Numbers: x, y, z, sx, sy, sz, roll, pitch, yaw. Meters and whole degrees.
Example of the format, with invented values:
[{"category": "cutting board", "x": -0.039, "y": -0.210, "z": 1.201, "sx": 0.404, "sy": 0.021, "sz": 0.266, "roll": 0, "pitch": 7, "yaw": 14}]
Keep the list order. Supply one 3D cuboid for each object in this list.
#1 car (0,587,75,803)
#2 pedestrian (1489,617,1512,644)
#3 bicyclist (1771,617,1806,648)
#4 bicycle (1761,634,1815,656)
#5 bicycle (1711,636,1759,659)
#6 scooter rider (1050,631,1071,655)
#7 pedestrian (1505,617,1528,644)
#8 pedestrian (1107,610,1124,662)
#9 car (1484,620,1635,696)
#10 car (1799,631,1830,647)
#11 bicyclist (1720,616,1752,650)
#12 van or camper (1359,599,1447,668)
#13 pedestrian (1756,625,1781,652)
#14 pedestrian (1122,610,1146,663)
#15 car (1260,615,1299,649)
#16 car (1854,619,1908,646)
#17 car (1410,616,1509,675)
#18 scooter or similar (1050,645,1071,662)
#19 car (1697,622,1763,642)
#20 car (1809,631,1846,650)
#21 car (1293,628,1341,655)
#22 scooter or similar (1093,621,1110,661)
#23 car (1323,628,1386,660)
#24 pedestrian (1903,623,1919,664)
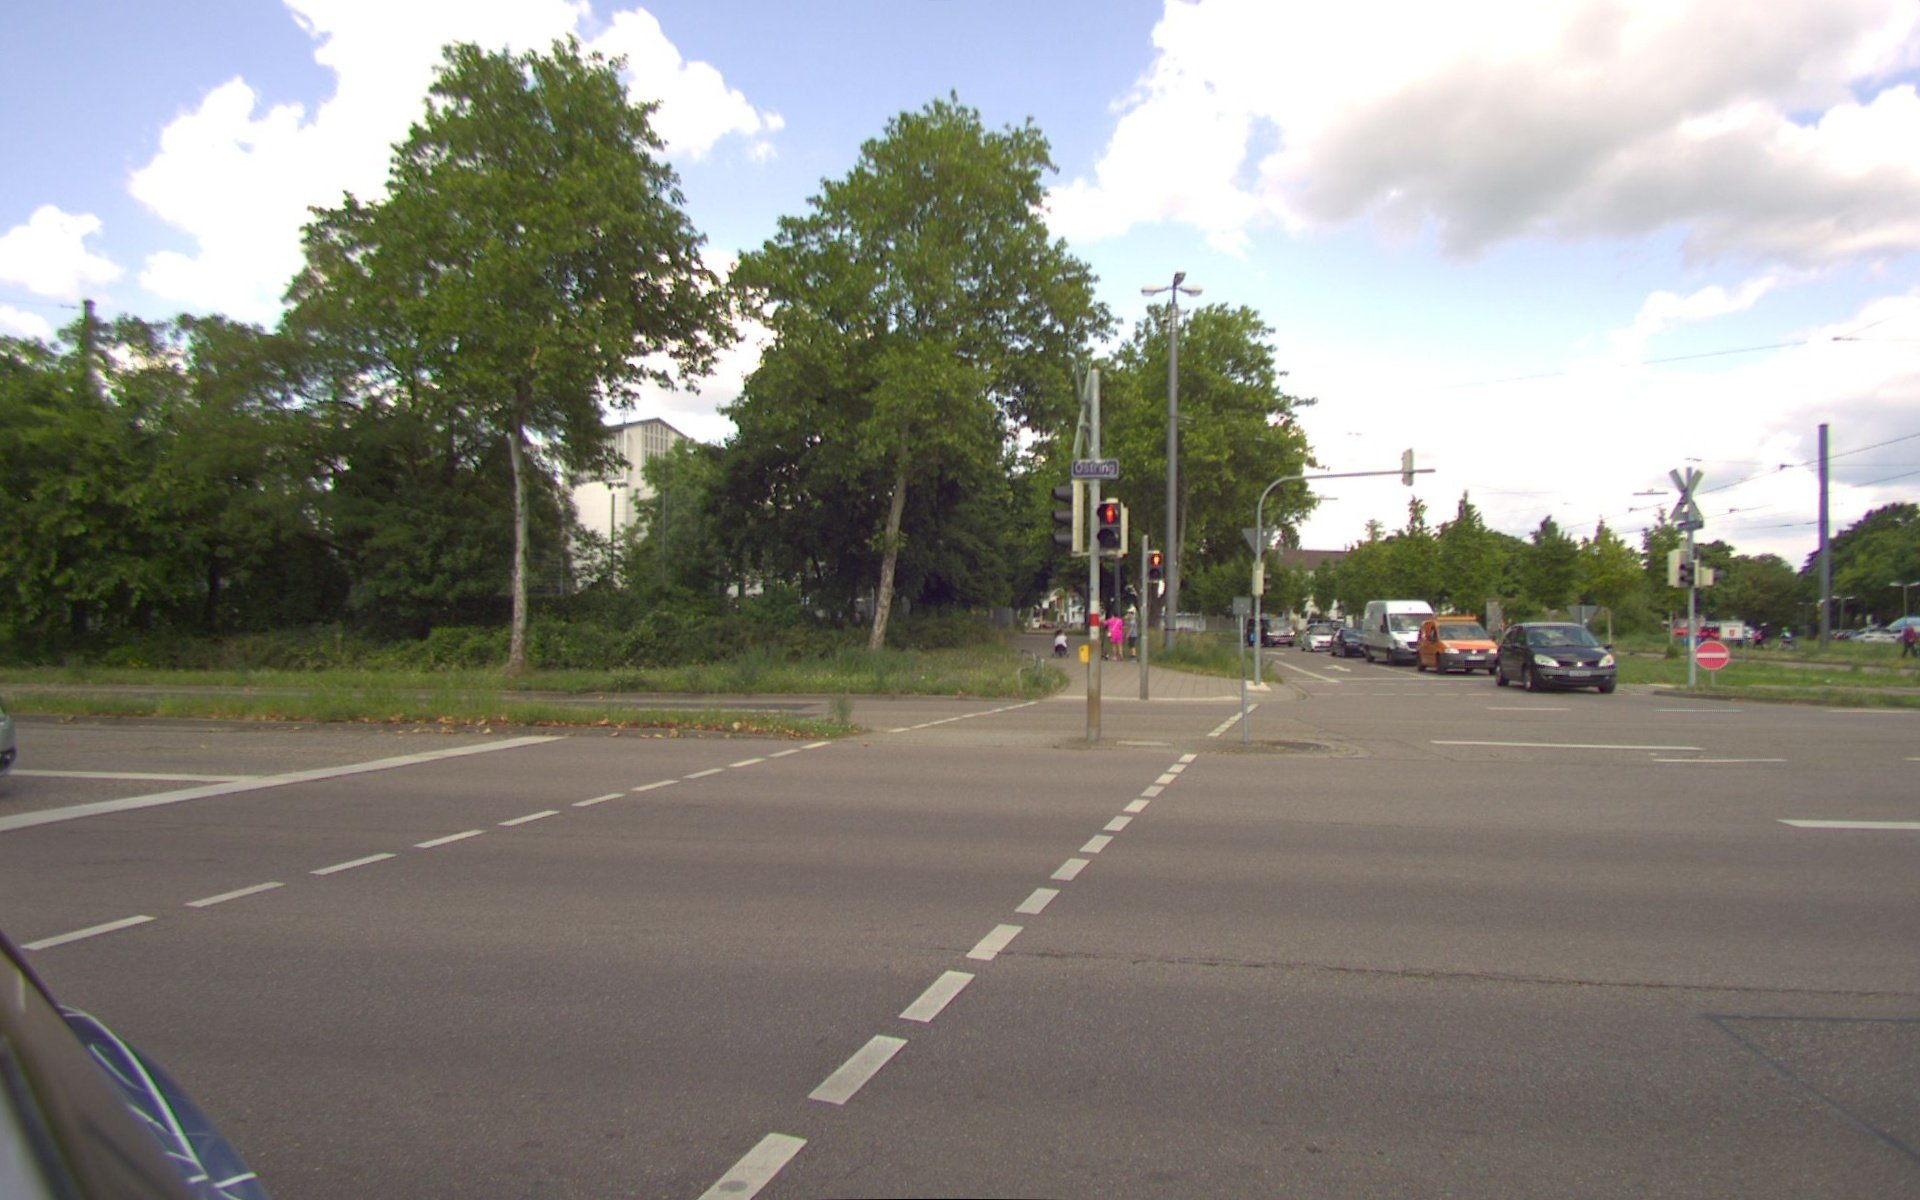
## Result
[{"category": "car", "x": -9.662, "y": 0.738, "z": 7.774, "sx": 4.450, "sy": 1.664, "sz": 1.926, "roll": 0, "pitch": 0, "yaw": 9}, {"category": "pedestrian", "x": 40.427, "y": 2.279, "z": 75.650, "sx": 1.092, "sy": 2.029, "sz": 1.176, "roll": 0, "pitch": -2, "yaw": 3}, {"category": "bicyclist", "x": 40.299, "y": 1.587, "z": 49.224, "sx": 0.949, "sy": 1.500, "sz": 0.837, "roll": 0, "pitch": -2, "yaw": -4}, {"category": "bicycle", "x": 40.295, "y": 2.194, "z": 49.295, "sx": 0.938, "sy": 1.048, "sz": 1.985, "roll": 0, "pitch": -1, "yaw": -3}, {"category": "bicycle", "x": 39.589, "y": 2.418, "z": 51.741, "sx": 0.939, "sy": 1.163, "sz": 1.983, "roll": 0, "pitch": -1, "yaw": 1}, {"category": "scooter rider", "x": 3.246, "y": 1.381, "z": 32.595, "sx": 0.605, "sy": 0.734, "sz": 0.856, "roll": -2, "pitch": -2, "yaw": 10}, {"category": "pedestrian", "x": 41.570, "y": 2.293, "z": 75.635, "sx": 1.092, "sy": 2.029, "sz": 1.176, "roll": 0, "pitch": -2, "yaw": 3}, {"category": "pedestrian", "x": 4.912, "y": 1.140, "z": 31.919, "sx": 0.418, "sy": 1.631, "sz": 0.593, "roll": -1, "pitch": -2, "yaw": 18}, {"category": "car", "x": 13.973, "y": 1.297, "z": 23.859, "sx": 1.717, "sy": 1.643, "sz": 4.039, "roll": 0, "pitch": -1, "yaw": 10}, {"category": "car", "x": 90.861, "y": 4.147, "z": 107.626, "sx": 1.995, "sy": 1.652, "sz": 4.339, "roll": -1, "pitch": -2, "yaw": 34}, {"category": "bicyclist", "x": 39.566, "y": 1.677, "z": 51.614, "sx": 0.950, "sy": 1.735, "sz": 0.836, "roll": 0, "pitch": -2, "yaw": 1}, {"category": "van or camper", "x": 17.655, "y": 1.332, "z": 40.665, "sx": 1.961, "sy": 2.543, "sz": 6.014, "roll": 0, "pitch": -2, "yaw": 11}, {"category": "pedestrian", "x": 41.691, "y": 1.986, "z": 52.174, "sx": 0.644, "sy": 1.364, "sz": 0.750, "roll": -2, "pitch": -2, "yaw": 9}, {"category": "pedestrian", "x": 5.379, "y": 1.117, "z": 31.271, "sx": 0.627, "sy": 1.631, "sz": 0.607, "roll": -1, "pitch": -2, "yaw": 18}, {"category": "car", "x": 21.109, "y": 2.111, "z": 66.952, "sx": 1.835, "sy": 2.172, "sz": 4.369, "roll": 0, "pitch": -1, "yaw": 9}, {"category": "car", "x": 59.953, "y": 2.094, "z": 65.954, "sx": 1.995, "sy": 1.652, "sz": 4.339, "roll": -1, "pitch": -2, "yaw": 34}, {"category": "car", "x": 16.243, "y": 1.445, "z": 33.161, "sx": 1.865, "sy": 1.813, "sz": 4.353, "roll": 0, "pitch": -1, "yaw": 12}, {"category": "scooter or similar", "x": 3.253, "y": 1.728, "z": 32.580, "sx": 0.605, "sy": 0.515, "sz": 0.855, "roll": -2, "pitch": -2, "yaw": 9}, {"category": "car", "x": 60.308, "y": 2.511, "z": 79.333, "sx": 3.991, "sy": 1.541, "sz": 1.976, "roll": -1, "pitch": -2, "yaw": 35}, {"category": "car", "x": 78.299, "y": 3.635, "z": 91.387, "sx": 1.995, "sy": 1.652, "sz": 4.339, "roll": -1, "pitch": -2, "yaw": 34}, {"category": "car", "x": 20.126, "y": 2.297, "z": 57.199, "sx": 1.791, "sy": 1.442, "sz": 4.369, "roll": 0, "pitch": -1, "yaw": 9}, {"category": "scooter or similar", "x": 4.506, "y": 1.305, "z": 32.207, "sx": 0.319, "sy": 1.241, "sz": 0.771, "roll": -3, "pitch": -2, "yaw": 19}, {"category": "car", "x": 18.842, "y": 2.079, "z": 48.470, "sx": 1.790, "sy": 1.442, "sz": 4.458, "roll": 0, "pitch": -1, "yaw": 8}, {"category": "pedestrian", "x": 39.722, "y": 1.798, "z": 41.942, "sx": 0.604, "sy": 1.657, "sz": 0.639, "roll": -2, "pitch": -2, "yaw": -5}]
